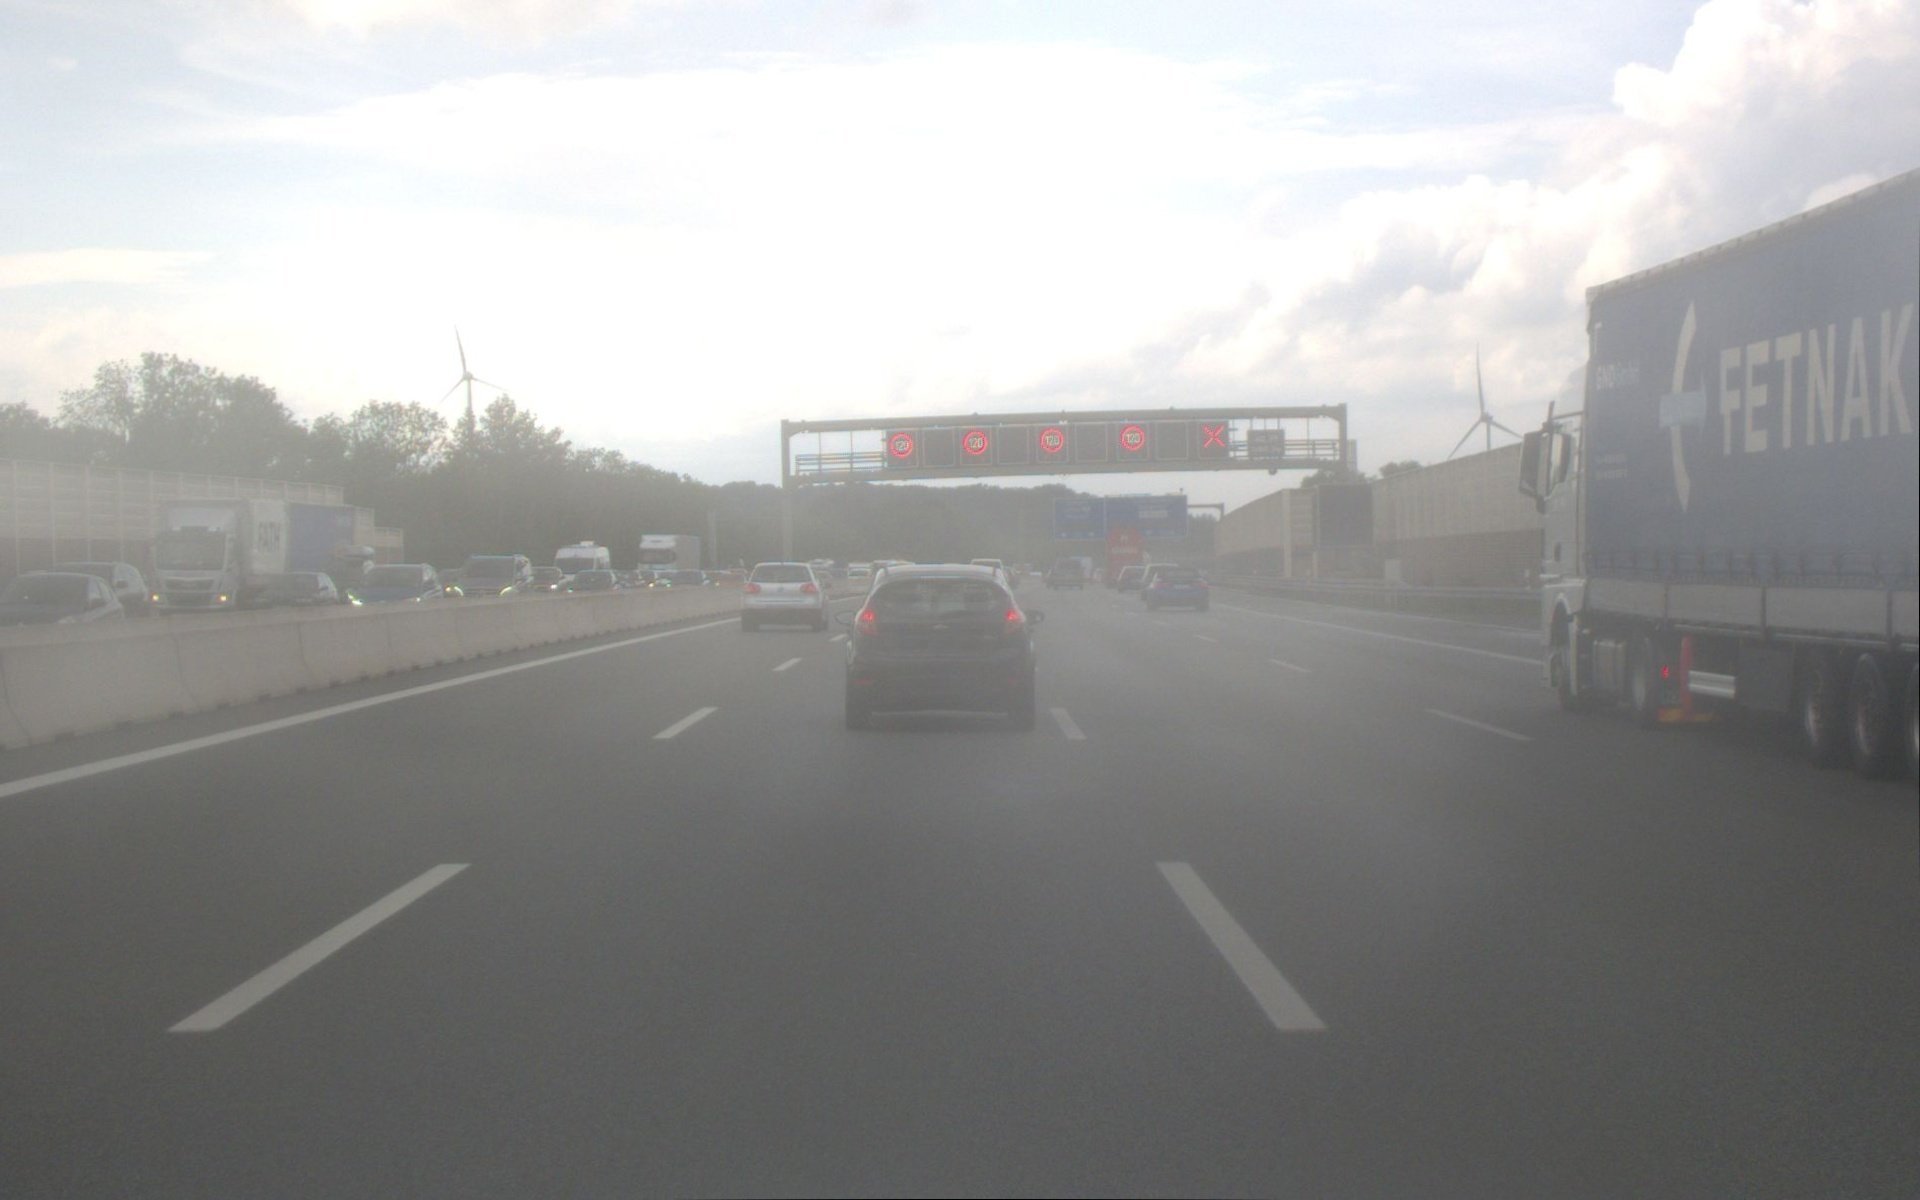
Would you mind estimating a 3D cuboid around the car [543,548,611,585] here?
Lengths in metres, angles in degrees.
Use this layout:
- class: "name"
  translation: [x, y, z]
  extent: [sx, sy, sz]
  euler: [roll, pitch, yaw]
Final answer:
- class: "car"
  translation: [-15.765, -1.379, 141.888]
  extent: [2.060, 1.486, 4.997]
  euler: [0, 0, 2]

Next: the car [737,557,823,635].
- class: "car"
  translation: [-3.849, -0.114, 74.224]
  extent: [1.717, 1.618, 4.279]
  euler: [0, 1, -1]

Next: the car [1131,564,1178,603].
- class: "car"
  translation: [8.158, -0.683, 144.553]
  extent: [1.883, 1.537, 4.432]
  euler: [0, 0, 2]

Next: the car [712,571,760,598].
- class: "car"
  translation: [-12.125, -0.828, 186.467]
  extent: [2.060, 1.486, 4.997]
  euler: [0, 0, 2]

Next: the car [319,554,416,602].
- class: "car"
  translation: [-18.916, -0.698, 109.949]
  extent: [2.060, 1.486, 4.997]
  euler: [0, 0, 2]

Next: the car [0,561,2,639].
- class: "car"
  translation: [-21.765, 0.041, 72.119]
  extent: [2.061, 1.694, 5.089]
  euler: [0, 1, -2]

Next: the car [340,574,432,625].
- class: "car"
  translation: [-18.296, -0.031, 109.801]
  extent: [2.060, 1.594, 4.997]
  euler: [0, 0, 0]

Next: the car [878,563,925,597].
- class: "car"
  translation: [-2.756, -0.956, 163.801]
  extent: [1.968, 1.555, 4.432]
  euler: [0, 0, 2]

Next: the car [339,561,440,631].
- class: "car"
  translation: [-14.301, -0.124, 86.336]
  extent: [1.873, 1.694, 4.222]
  euler: [0, 1, -1]

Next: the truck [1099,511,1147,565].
- class: "truck"
  translation: [11.406, -4.281, 241.153]
  extent: [3.152, 3.589, 12.698]
  euler: [1, 1, 2]

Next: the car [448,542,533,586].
- class: "car"
  translation: [-14.188, -1.113, 104.192]
  extent: [1.873, 1.295, 5.600]
  euler: [0, 1, -1]

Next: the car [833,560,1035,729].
- class: "car"
  translation: [-0.282, 0.355, 31.334]
  extent: [1.717, 1.412, 4.279]
  euler: [0, 1, -2]

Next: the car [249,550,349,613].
- class: "car"
  translation: [-18.445, -0.546, 96.132]
  extent: [1.873, 1.694, 5.016]
  euler: [0, 1, -1]

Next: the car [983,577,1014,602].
- class: "car"
  translation: [2.495, -0.668, 222.807]
  extent: [1.968, 1.555, 4.433]
  euler: [0, 0, 1]

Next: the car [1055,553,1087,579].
- class: "car"
  translation: [7.094, -2.183, 219.825]
  extent: [1.968, 1.555, 4.432]
  euler: [0, 0, 3]

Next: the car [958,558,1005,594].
- class: "car"
  translation: [0.993, -1.069, 155.068]
  extent: [1.968, 1.555, 4.432]
  euler: [0, 0, 2]

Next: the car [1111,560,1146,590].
- class: "car"
  translation: [9.330, -1.384, 190.864]
  extent: [1.883, 1.555, 4.432]
  euler: [0, 0, 2]

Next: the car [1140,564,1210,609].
- class: "car"
  translation: [6.831, -0.410, 109.438]
  extent: [1.950, 1.413, 4.232]
  euler: [0, 0, 0]

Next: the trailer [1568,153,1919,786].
- class: "trailer"
  translation: [7.405, -0.863, 26.118]
  extent: [2.761, 4.018, 14.454]
  euler: [0, 0, -1]

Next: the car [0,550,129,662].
- class: "car"
  translation: [-14.582, 0.058, 54.302]
  extent: [1.955, 1.694, 4.411]
  euler: [0, 1, -2]

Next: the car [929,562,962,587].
- class: "car"
  translation: [-0.951, -1.625, 223.797]
  extent: [1.968, 1.555, 4.432]
  euler: [0, 0, 2]

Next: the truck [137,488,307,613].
- class: "truck"
  translation: [-22.058, -1.457, 103.314]
  extent: [2.696, 3.515, 9.995]
  euler: [1, 1, 1]

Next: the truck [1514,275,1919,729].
- class: "truck"
  translation: [7.275, -0.898, 33.444]
  extent: [2.744, 4.021, 5.726]
  euler: [0, 0, -1]
